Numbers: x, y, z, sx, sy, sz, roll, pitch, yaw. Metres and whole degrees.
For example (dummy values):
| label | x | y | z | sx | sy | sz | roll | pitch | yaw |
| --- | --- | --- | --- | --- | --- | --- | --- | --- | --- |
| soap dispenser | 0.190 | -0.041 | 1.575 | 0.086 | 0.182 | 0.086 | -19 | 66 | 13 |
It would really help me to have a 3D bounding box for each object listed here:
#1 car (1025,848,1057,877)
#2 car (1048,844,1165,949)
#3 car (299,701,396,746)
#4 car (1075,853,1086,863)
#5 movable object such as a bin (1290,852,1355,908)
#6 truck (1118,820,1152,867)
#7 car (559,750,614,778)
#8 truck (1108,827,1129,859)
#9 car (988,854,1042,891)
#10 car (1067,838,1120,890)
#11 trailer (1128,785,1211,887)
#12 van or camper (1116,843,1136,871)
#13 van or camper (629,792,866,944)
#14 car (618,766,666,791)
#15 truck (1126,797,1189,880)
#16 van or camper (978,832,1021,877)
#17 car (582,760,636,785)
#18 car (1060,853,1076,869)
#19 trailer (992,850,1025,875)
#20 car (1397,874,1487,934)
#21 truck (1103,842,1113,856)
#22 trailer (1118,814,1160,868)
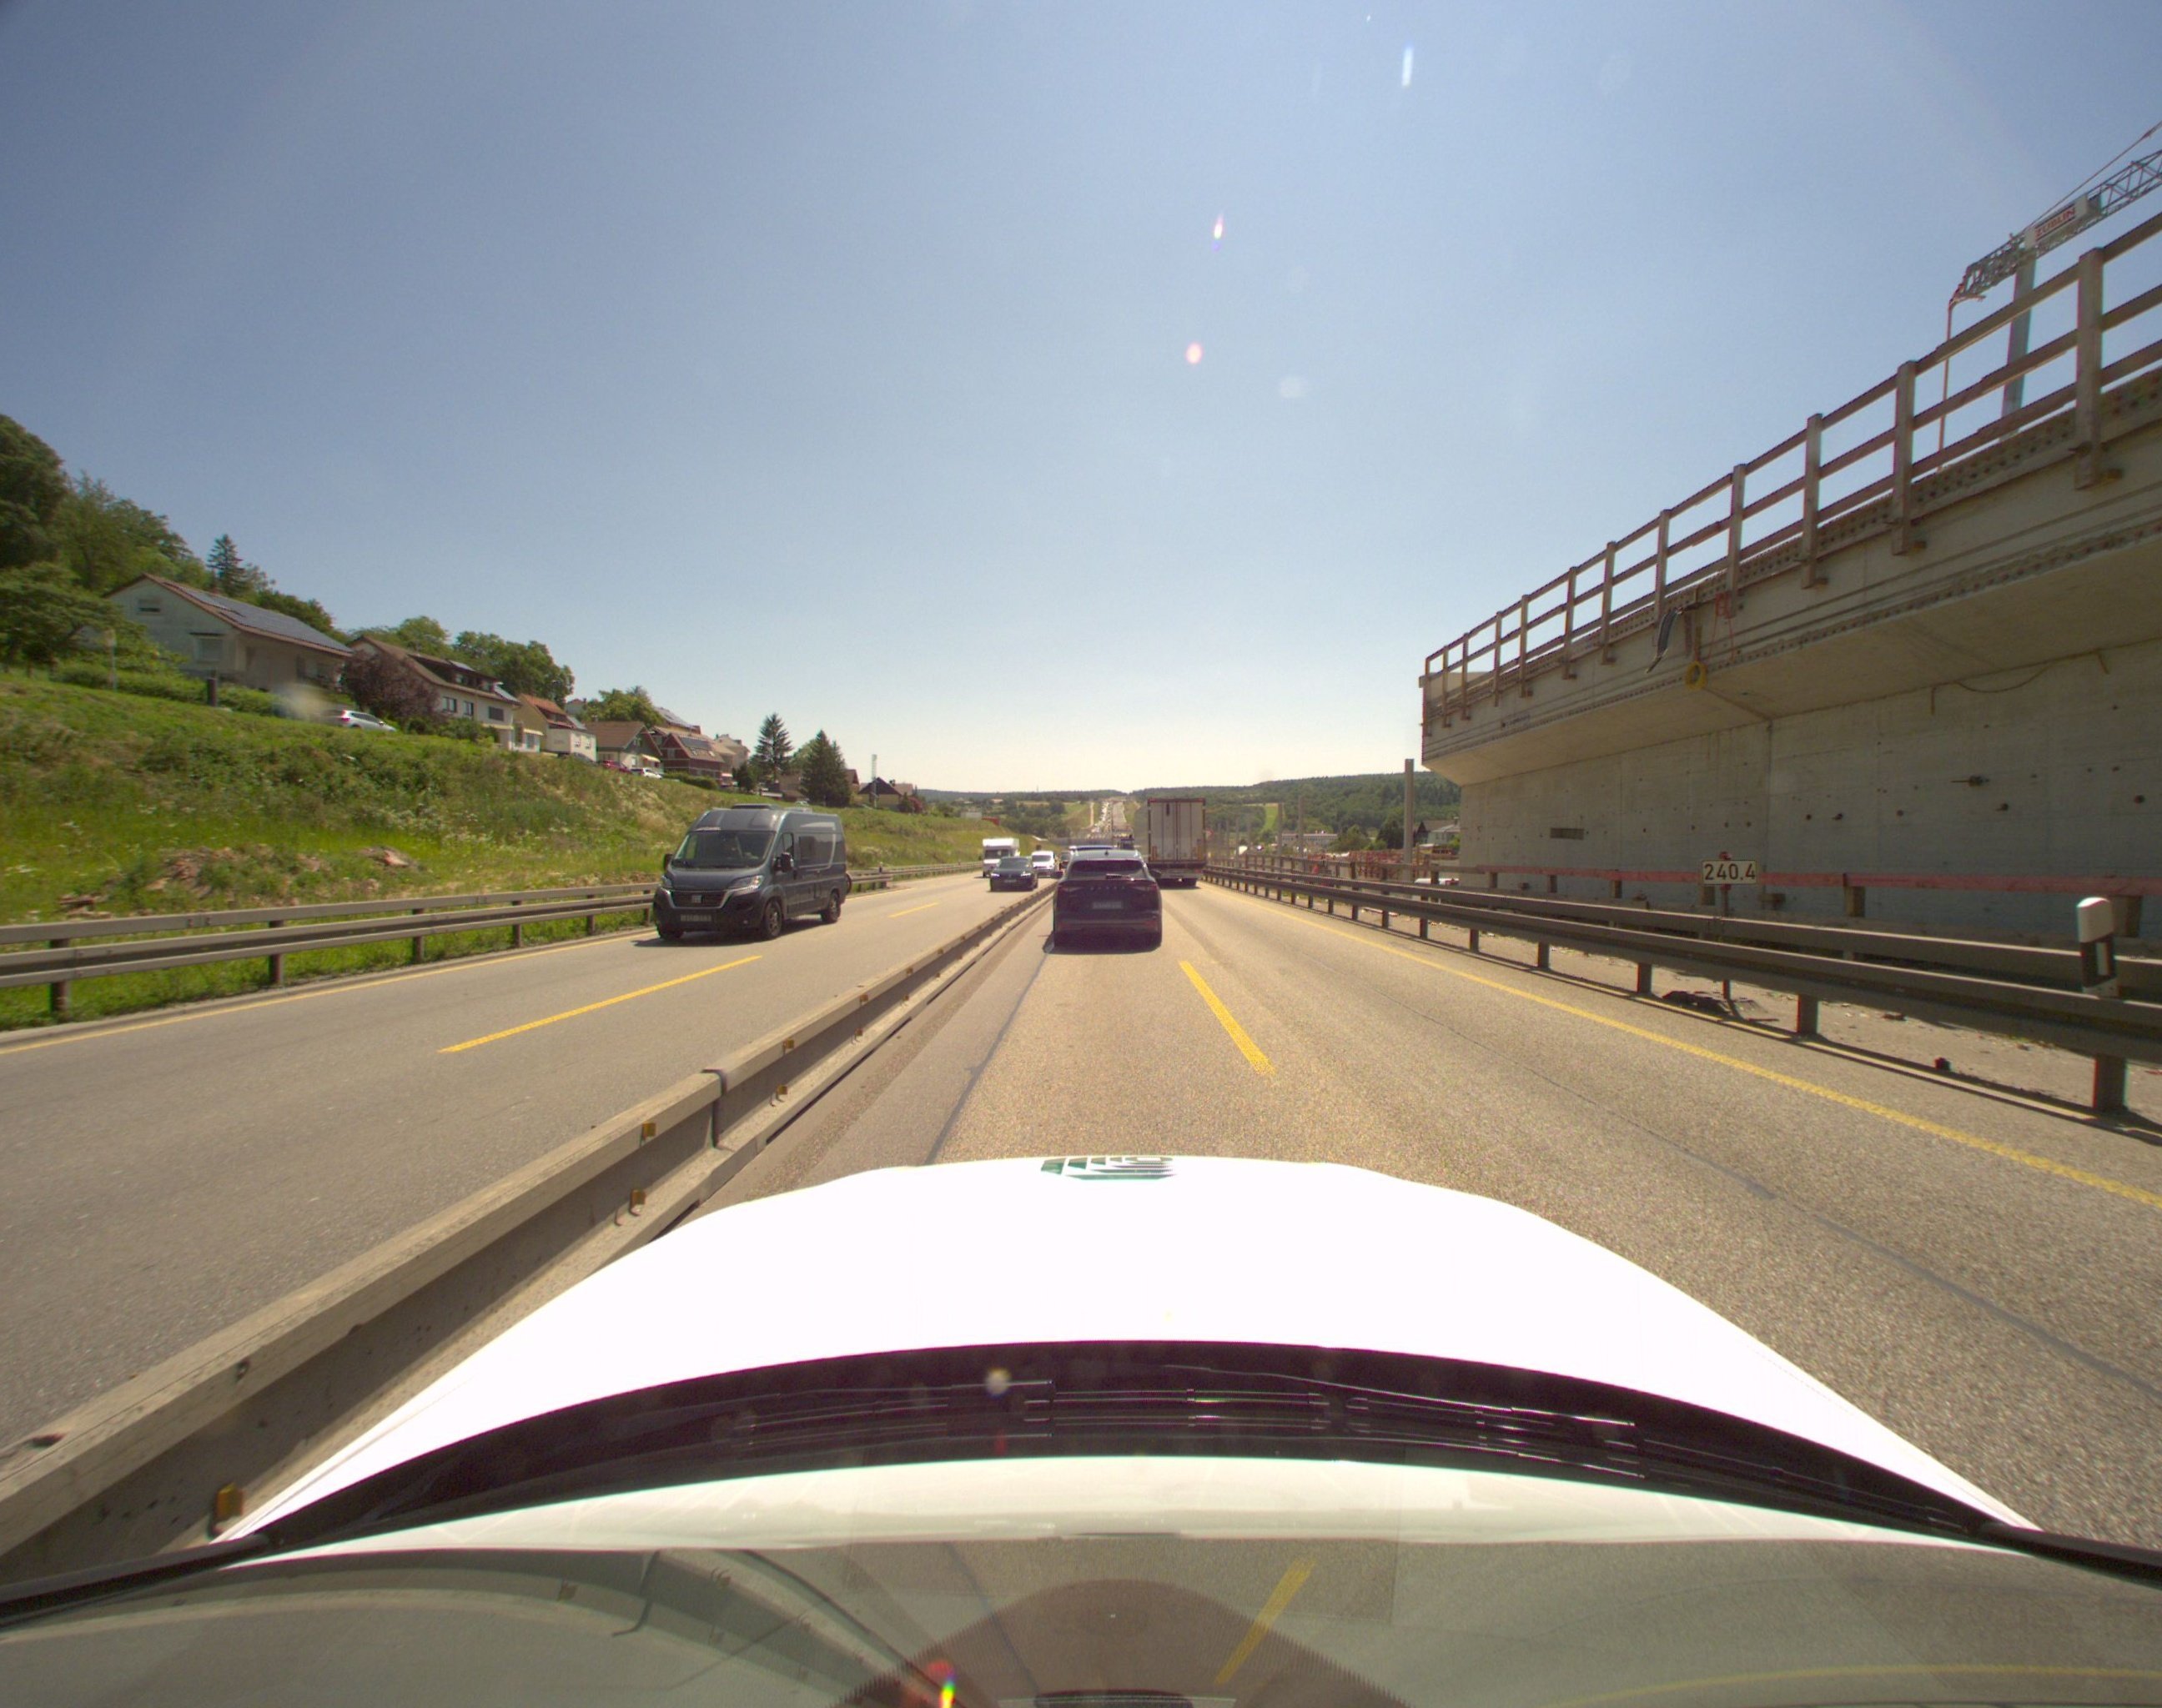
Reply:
| label | x | y | z | sx | sy | sz | roll | pitch | yaw |
| --- | --- | --- | --- | --- | --- | --- | --- | --- | --- |
| car | -2.714 | 0.559 | 55.900 | 1.831 | 1.828 | 5.040 | -1 | 0 | 1 |
| car | 0.473 | 0.685 | 14.687 | 1.795 | 1.607 | 4.002 | -1 | -1 | 2 |
| car | -40.978 | -7.259 | 45.649 | 1.990 | 1.794 | 3.992 | -1 | -1 | -5 |
| car | -0.039 | 0.598 | 135.272 | 1.800 | 1.640 | 4.172 | -1 | 0 | 0 |
| movable object such as a bin | 21.856 | 2.284 | 74.341 | 3.216 | 4.743 | 9.656 | -1 | -1 | 1 |
| truck | 5.466 | -0.973 | 83.907 | 3.169 | 4.513 | 8.167 | -1 | -1 | 1 |
| car | -42.311 | -7.702 | 69.821 | 2.175 | 1.794 | 4.754 | -1 | -1 | -5 |
| truck | 5.792 | -1.572 | 126.663 | 2.842 | 4.465 | 11.917 | -1 | -1 | 1 |
| car | -2.832 | 0.754 | 35.859 | 1.836 | 1.475 | 4.836 | -1 | 0 | 1 |
| car | 0.511 | 0.429 | 32.775 | 1.986 | 1.926 | 4.508 | -1 | -1 | 1 |
| trailer | 4.305 | -0.842 | 42.660 | 3.169 | 4.513 | 13.112 | -1 | 0 | 1 |
| van or camper | 5.607 | 0.429 | 101.283 | 2.378 | 3.281 | 6.474 | -1 | -1 | 3 |
| van or camper | -6.523 | 0.242 | 17.104 | 2.132 | 2.573 | 6.566 | 0 | 0 | 1 |
| car | -44.250 | -7.595 | 82.287 | 2.341 | 2.041 | 4.814 | -1 | -1 | -2 |
| truck | 4.464 | -0.873 | 49.105 | 3.169 | 4.513 | 8.168 | -1 | 0 | 1 |
| van or camper | -5.902 | 0.056 | 59.720 | 2.283 | 3.066 | 6.925 | -1 | 0 | 1 |
| car | -43.968 | -7.558 | 75.995 | 2.341 | 1.794 | 4.797 | -1 | -1 | -2 |
| car | -1.302 | 0.694 | 80.821 | 1.478 | 1.505 | 2.806 | -1 | 0 | 1 |
| trailer | -5.794 | 0.649 | 65.631 | 2.094 | 1.894 | 5.142 | -1 | 0 | 1 |
| car | 18.875 | 2.494 | 43.052 | 2.135 | 2.856 | 7.031 | -1 | -1 | 5 |
| truck | 7.338 | -1.432 | 222.994 | 2.769 | 3.672 | 6.278 | -1 | 0 | 1 |
| trailer | 5.304 | -0.966 | 76.742 | 3.169 | 4.513 | 14.969 | -1 | -1 | 1 |
